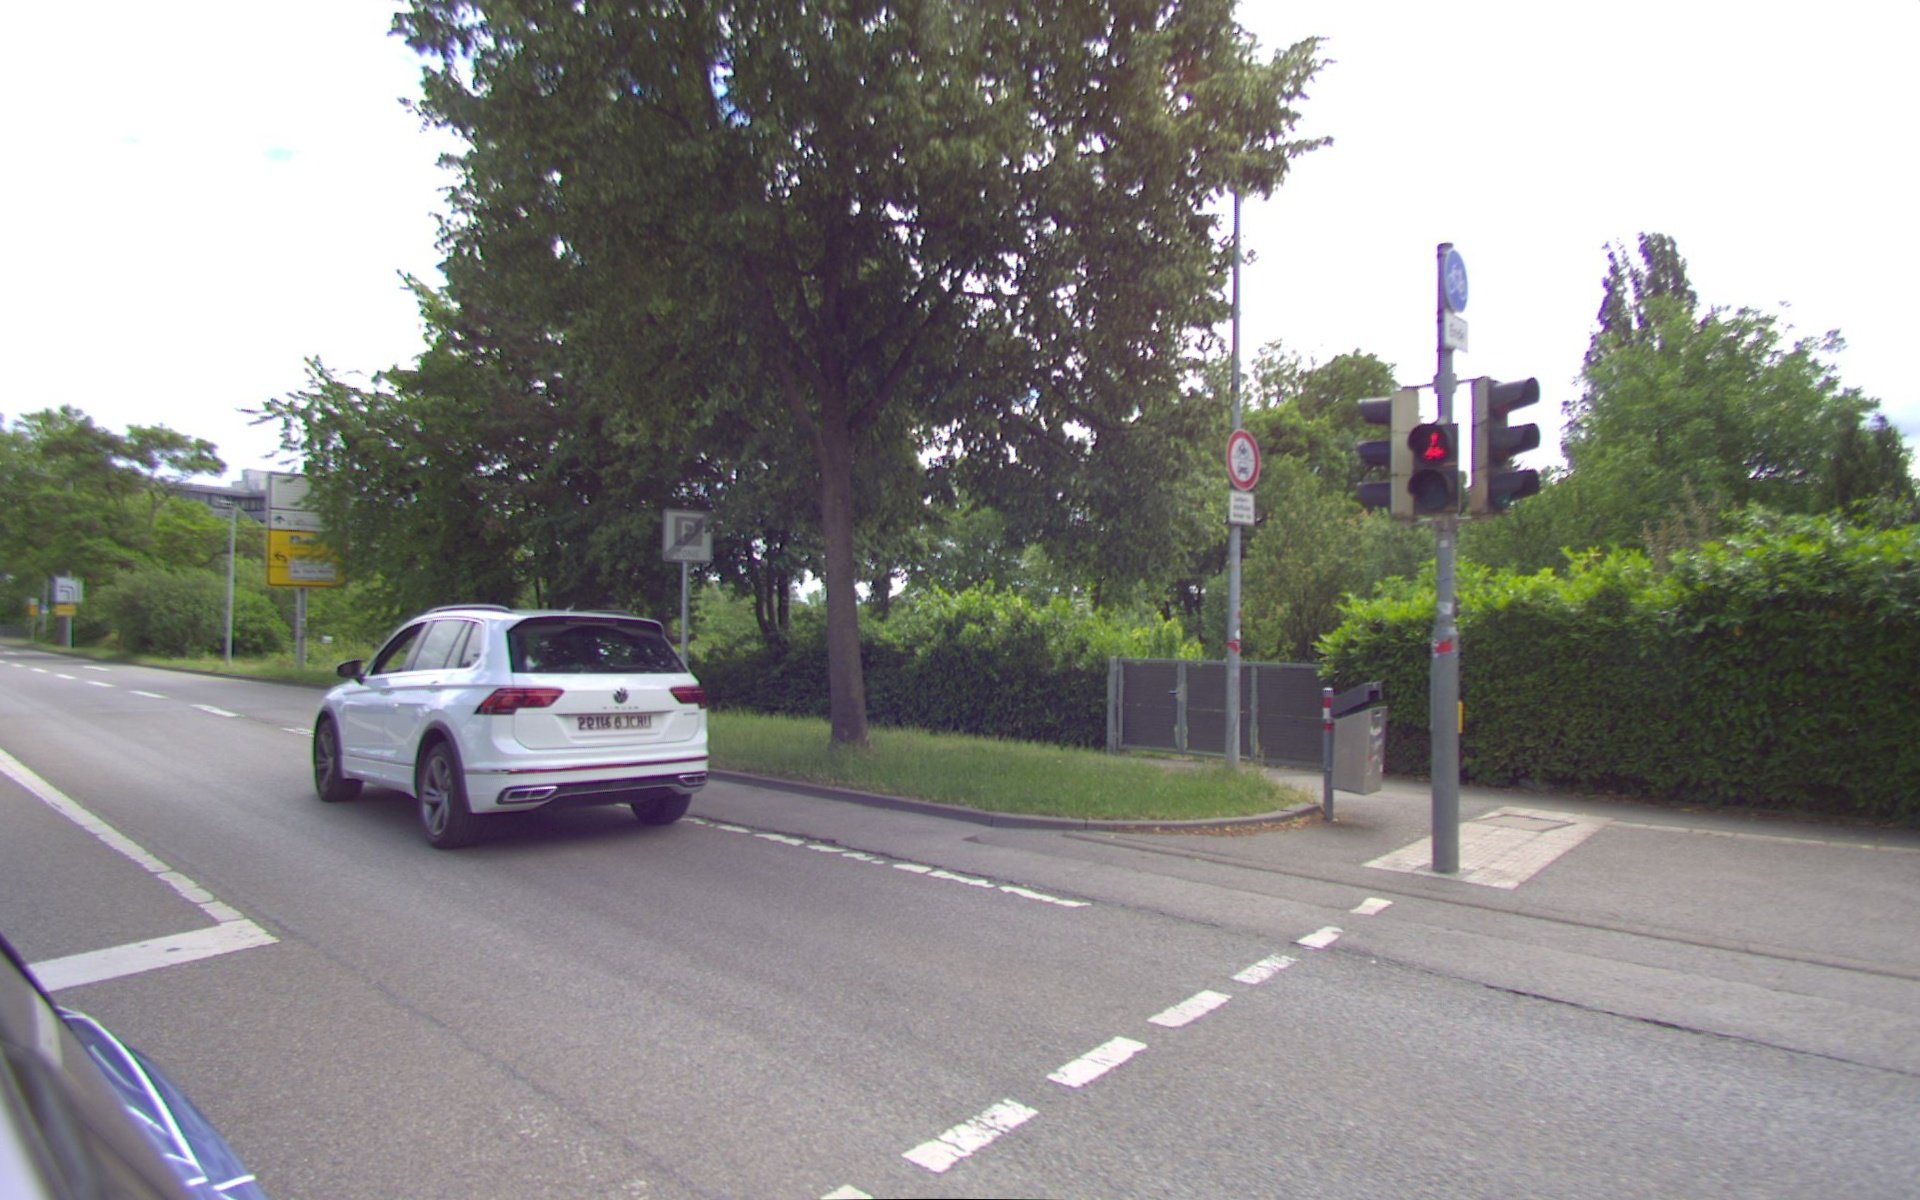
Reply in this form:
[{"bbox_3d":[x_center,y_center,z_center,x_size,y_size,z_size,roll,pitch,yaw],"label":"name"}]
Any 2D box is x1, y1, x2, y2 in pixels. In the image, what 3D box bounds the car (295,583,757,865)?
[{"bbox_3d":[-3.673,0.815,8.140,4.342,1.647,1.854,-2,-4,44],"label":"car"}]
